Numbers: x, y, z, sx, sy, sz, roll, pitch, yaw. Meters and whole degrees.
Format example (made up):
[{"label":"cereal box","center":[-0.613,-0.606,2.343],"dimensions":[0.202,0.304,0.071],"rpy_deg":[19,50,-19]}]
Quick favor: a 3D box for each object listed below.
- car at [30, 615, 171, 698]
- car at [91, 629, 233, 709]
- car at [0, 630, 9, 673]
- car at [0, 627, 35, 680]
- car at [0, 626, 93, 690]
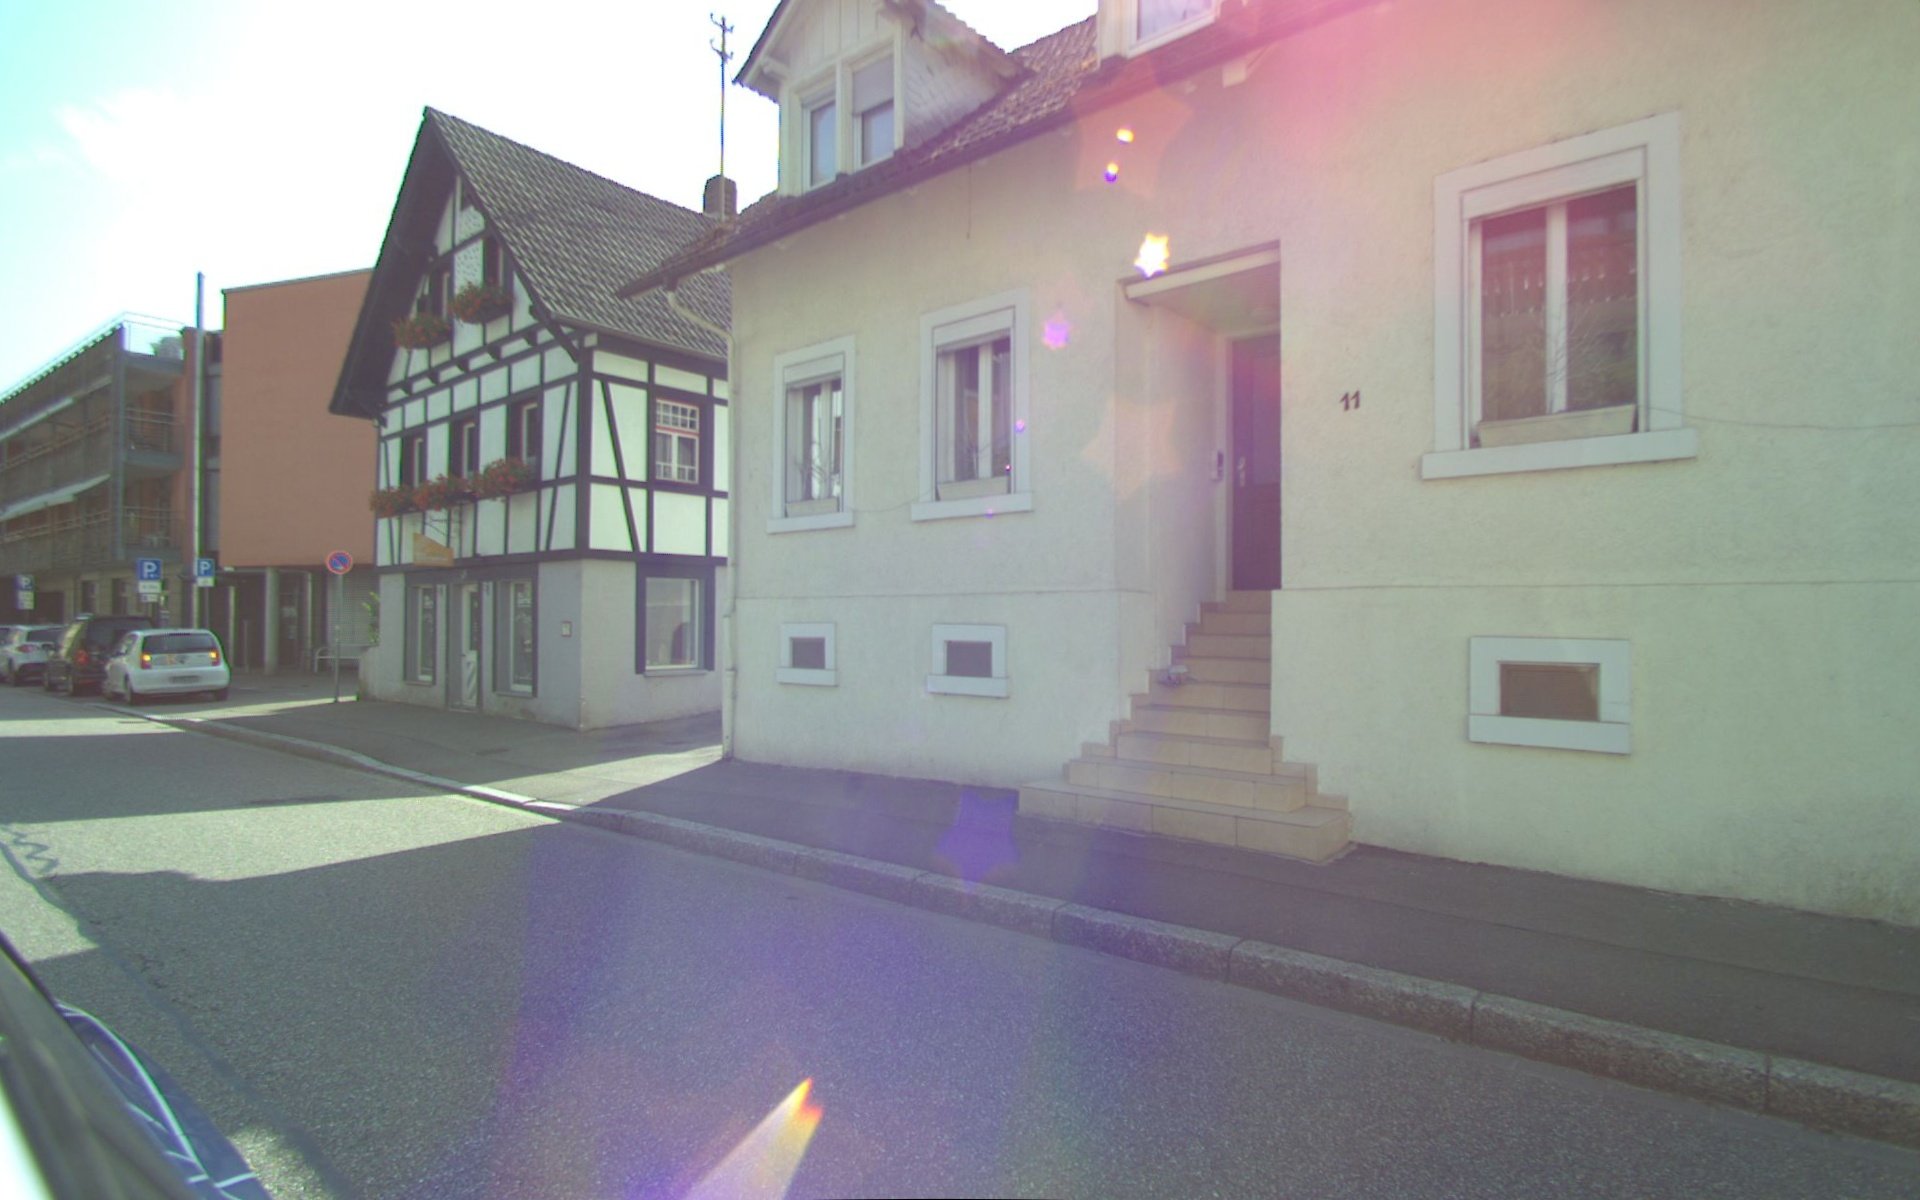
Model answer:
[{"label":"car","center":[-20.529,1.300,24.125],"dimensions":[4.263,1.810,1.704],"rpy_deg":[-1,-2,38]},{"label":"car","center":[-16.515,1.377,20.900],"dimensions":[3.566,1.443,1.649],"rpy_deg":[-2,-1,41]},{"label":"car","center":[-34.126,1.765,34.926],"dimensions":[3.591,1.427,1.533],"rpy_deg":[-1,0,40]},{"label":"car","center":[-30.406,1.654,31.611],"dimensions":[3.760,1.567,1.658],"rpy_deg":[-2,-1,39]},{"label":"car","center":[-25.223,1.534,27.619],"dimensions":[3.944,1.601,1.658],"rpy_deg":[-2,-2,39]}]
